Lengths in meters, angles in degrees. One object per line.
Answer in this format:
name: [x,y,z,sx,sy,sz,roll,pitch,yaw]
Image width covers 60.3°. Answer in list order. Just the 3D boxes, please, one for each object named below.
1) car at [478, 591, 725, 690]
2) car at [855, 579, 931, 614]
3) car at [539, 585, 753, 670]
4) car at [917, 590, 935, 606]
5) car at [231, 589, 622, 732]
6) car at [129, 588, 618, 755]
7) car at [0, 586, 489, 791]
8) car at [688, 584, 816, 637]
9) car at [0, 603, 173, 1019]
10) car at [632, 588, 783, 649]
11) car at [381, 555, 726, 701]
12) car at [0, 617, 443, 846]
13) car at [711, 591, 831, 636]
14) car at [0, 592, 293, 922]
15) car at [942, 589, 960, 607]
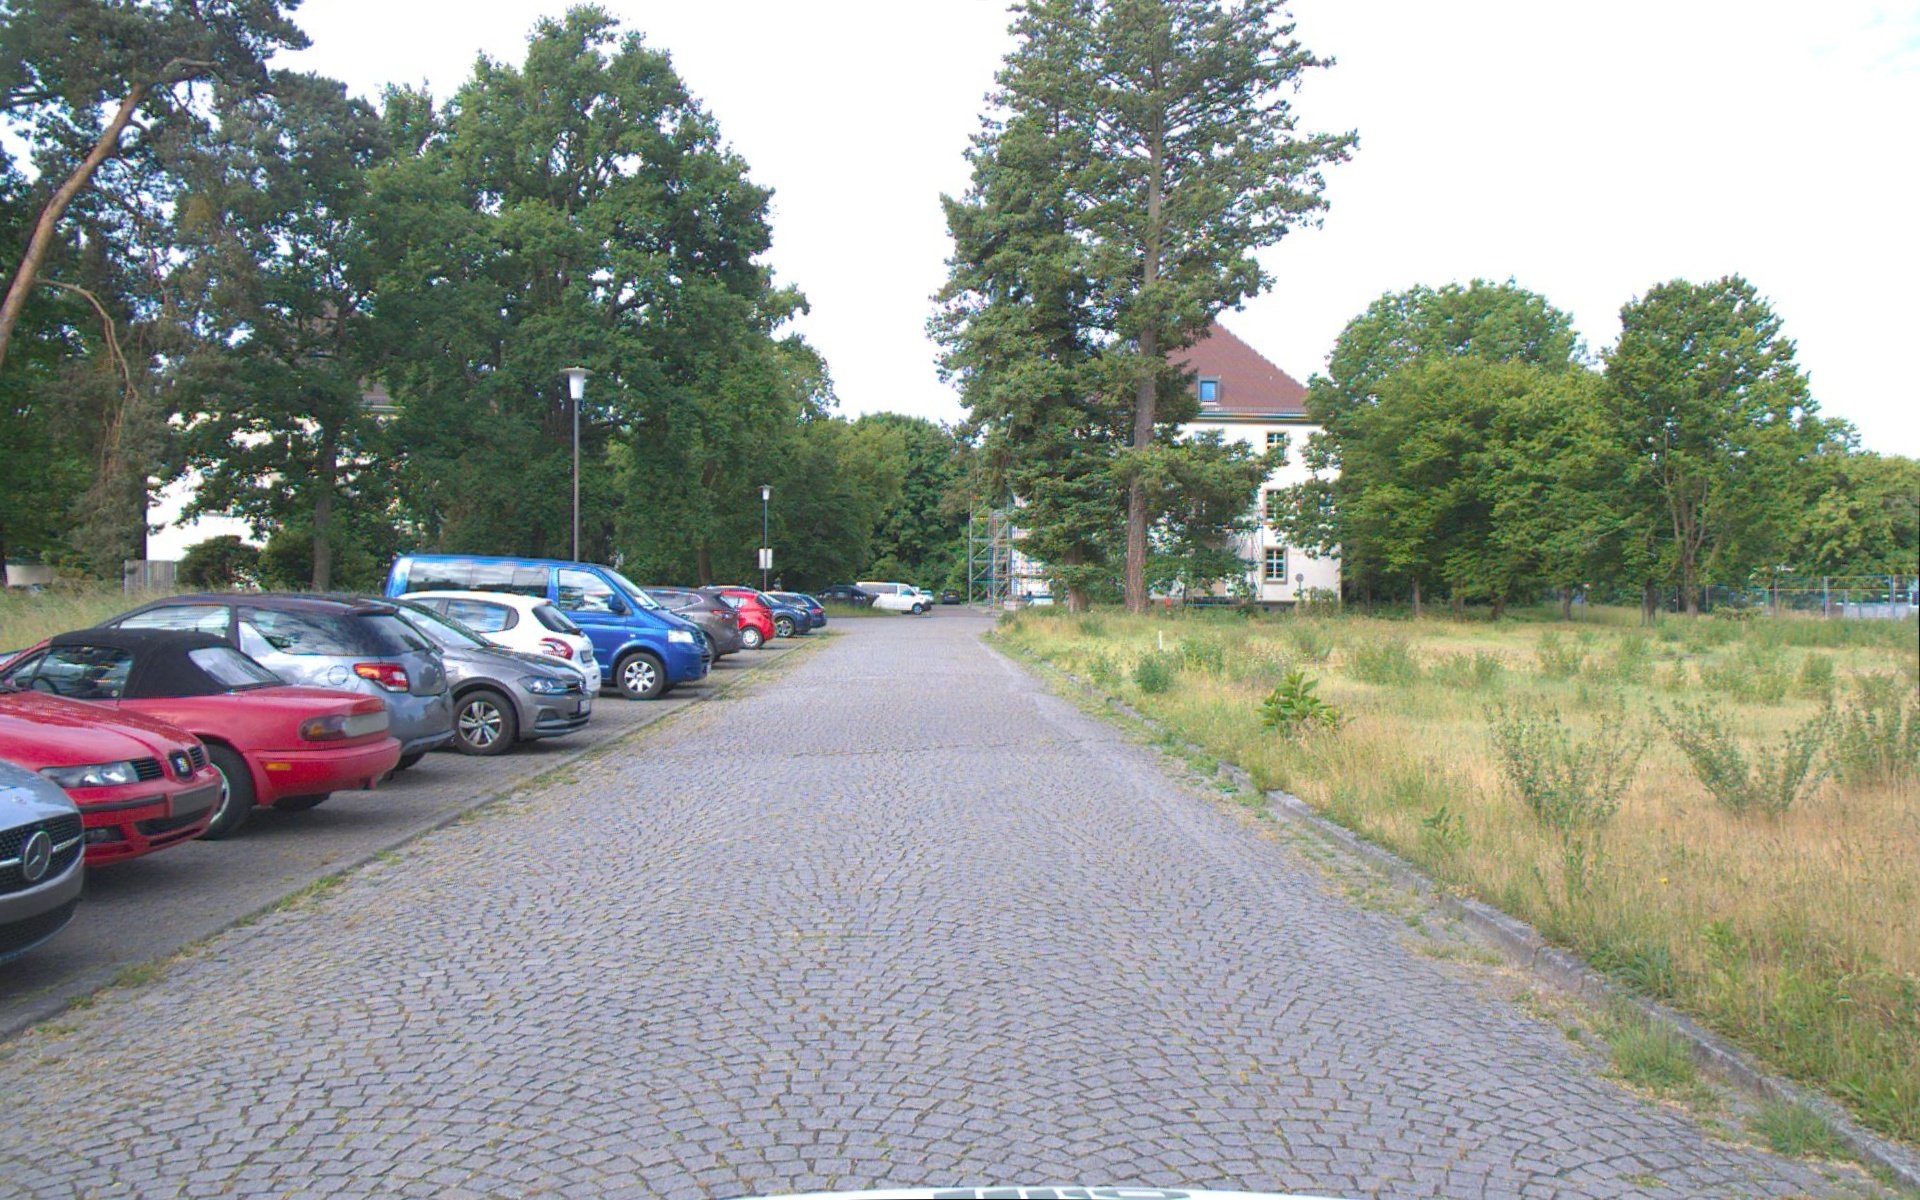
car: [-5.814,0.643,27.171,3.719,1.519,1.725,1,0,-4]
car: [-4.374,-0.193,107.755,4.879,2.109,2.051,1,-1,-3]
car: [-6.286,0.535,33.442,3.986,1.602,1.953,1,0,-3]
car: [-3.552,-0.191,173.838,1.754,1.665,4.058,0,-1,-3]
car: [-6.108,0.665,19.274,3.923,1.528,1.843,1,0,0]
car: [-5.694,0.664,16.421,4.216,1.506,1.731,1,0,0]
car: [-6.117,0.674,13.523,4.004,1.506,1.755,1,0,-1]
car: [-6.753,0.336,53.997,3.990,1.632,1.786,1,0,-3]
car: [-5.595,0.726,6.166,4.346,1.481,1.949,1,0,-1]
car: [-6.641,0.484,43.748,3.739,1.515,1.787,1,0,-3]
car: [-5.923,0.393,24.580,4.615,2.015,2.037,1,0,-2]
car: [-5.704,0.799,10.855,4.047,1.305,1.763,1,0,-2]
car: [-6.683,0.464,58.697,3.987,1.493,1.626,1,0,2]
car: [-5.889,0.699,8.466,4.168,1.480,1.855,1,0,-2]
car: [-0.990,-0.221,174.241,1.754,1.750,4.058,0,-1,-3]
